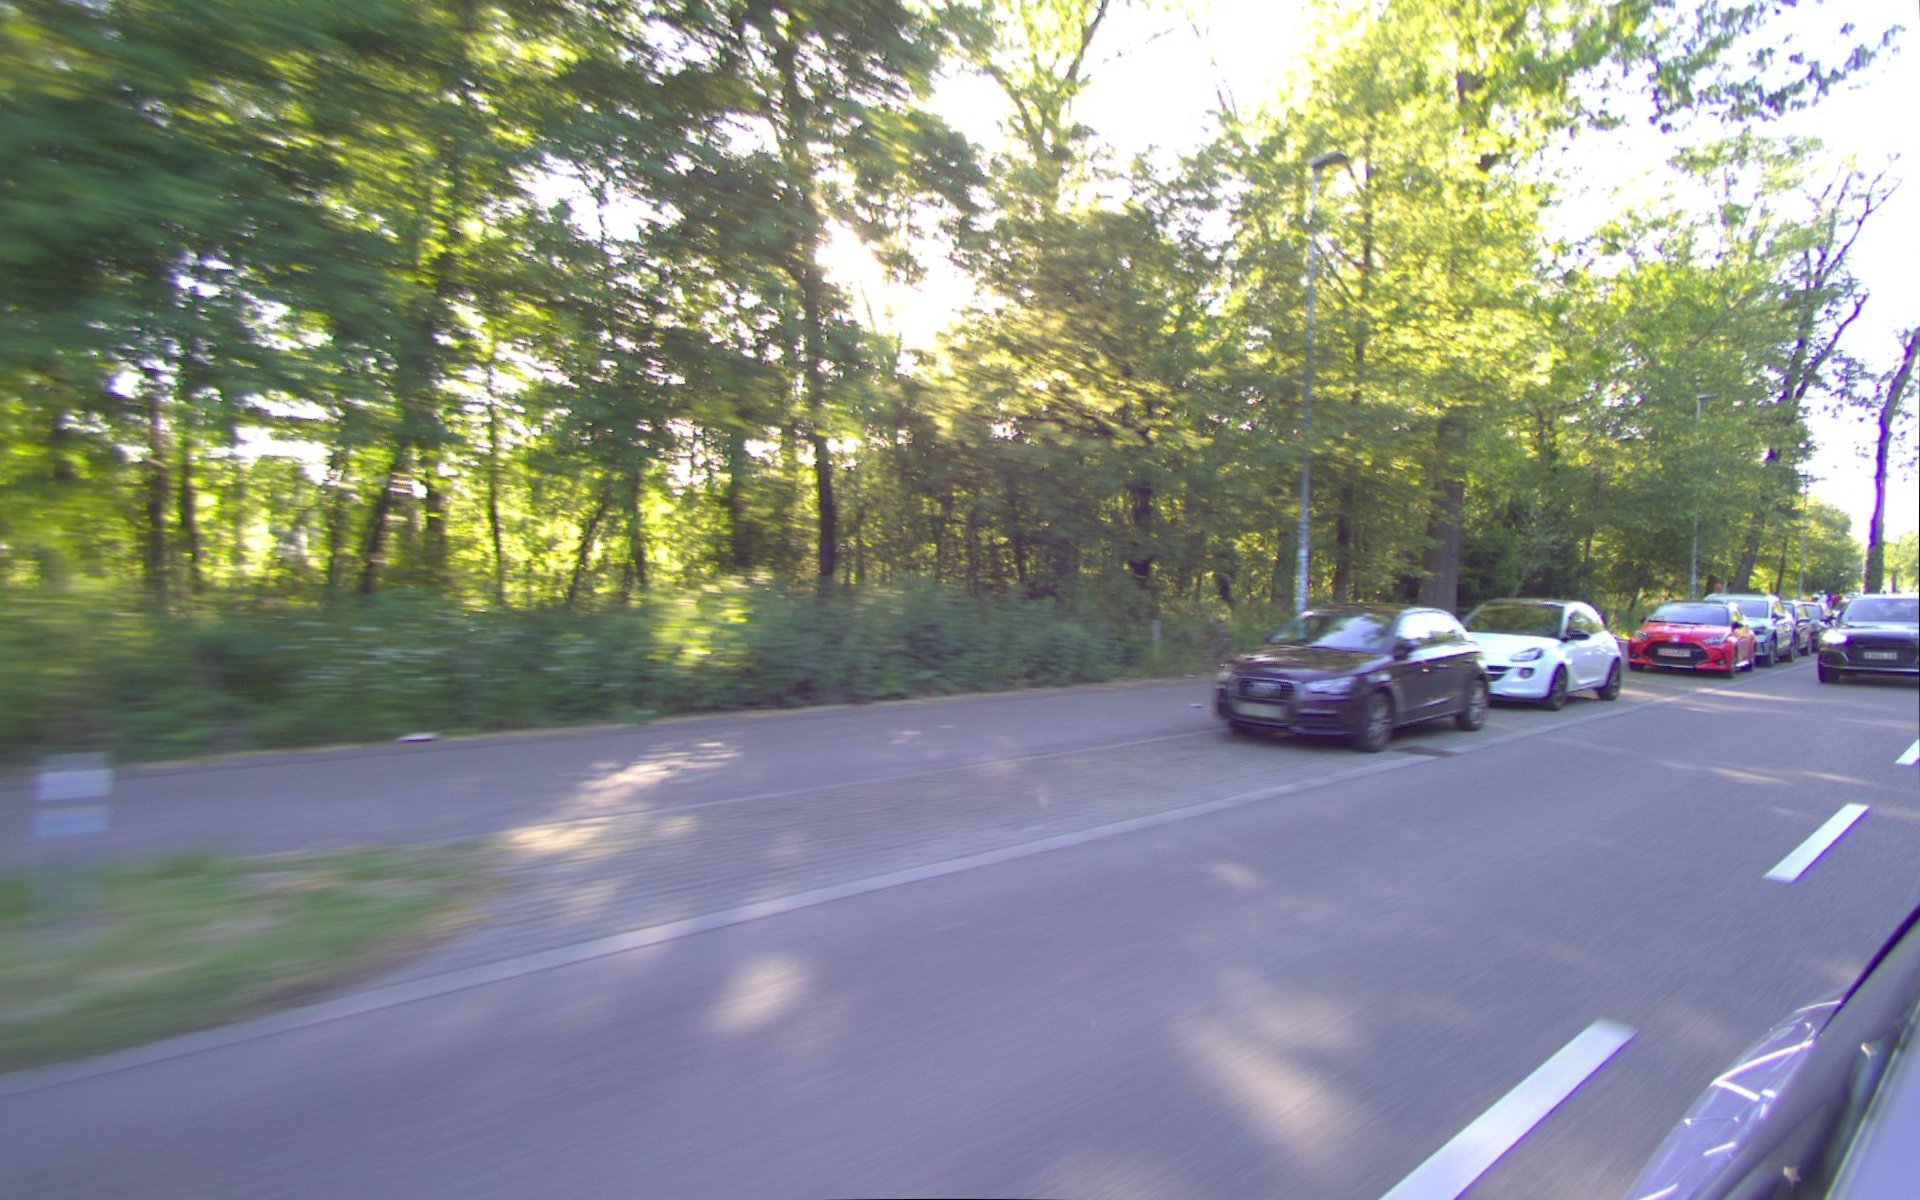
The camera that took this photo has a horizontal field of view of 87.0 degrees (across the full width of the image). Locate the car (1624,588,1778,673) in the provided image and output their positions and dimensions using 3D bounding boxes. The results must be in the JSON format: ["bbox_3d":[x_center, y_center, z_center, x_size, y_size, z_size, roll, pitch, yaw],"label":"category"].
[{"bbox_3d":[15.499,0.542,21.076,4.390,1.474,1.855,-1,4,-44],"label":"car"}]

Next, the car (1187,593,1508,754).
[{"bbox_3d":[4.332,0.641,11.031,3.879,1.409,1.737,0,1,-43],"label":"car"}]

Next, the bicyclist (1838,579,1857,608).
[{"bbox_3d":[50.565,-0.365,57.653,0.861,1.580,0.703,-1,3,-43],"label":"bicyclist"}]

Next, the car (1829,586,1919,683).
[{"bbox_3d":[17.616,0.564,18.829,3.935,1.638,1.858,-1,2,-44],"label":"car"}]

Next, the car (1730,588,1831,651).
[{"bbox_3d":[22.599,0.474,27.823,3.844,1.540,1.597,-1,3,-43],"label":"car"}]

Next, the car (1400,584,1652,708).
[{"bbox_3d":[8.413,0.568,14.894,4.208,1.474,1.857,0,4,-41],"label":"car"}]

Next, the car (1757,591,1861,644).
[{"bbox_3d":[26.324,0.480,31.320,4.457,1.452,1.856,-1,3,-42],"label":"car"}]

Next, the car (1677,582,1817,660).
[{"bbox_3d":[18.932,0.422,24.266,4.643,1.604,1.856,0,4,-43],"label":"car"}]

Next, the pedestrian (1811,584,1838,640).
[{"bbox_3d":[28.385,0.385,33.235,0.509,1.778,0.727,2,1,34],"label":"pedestrian"}]
